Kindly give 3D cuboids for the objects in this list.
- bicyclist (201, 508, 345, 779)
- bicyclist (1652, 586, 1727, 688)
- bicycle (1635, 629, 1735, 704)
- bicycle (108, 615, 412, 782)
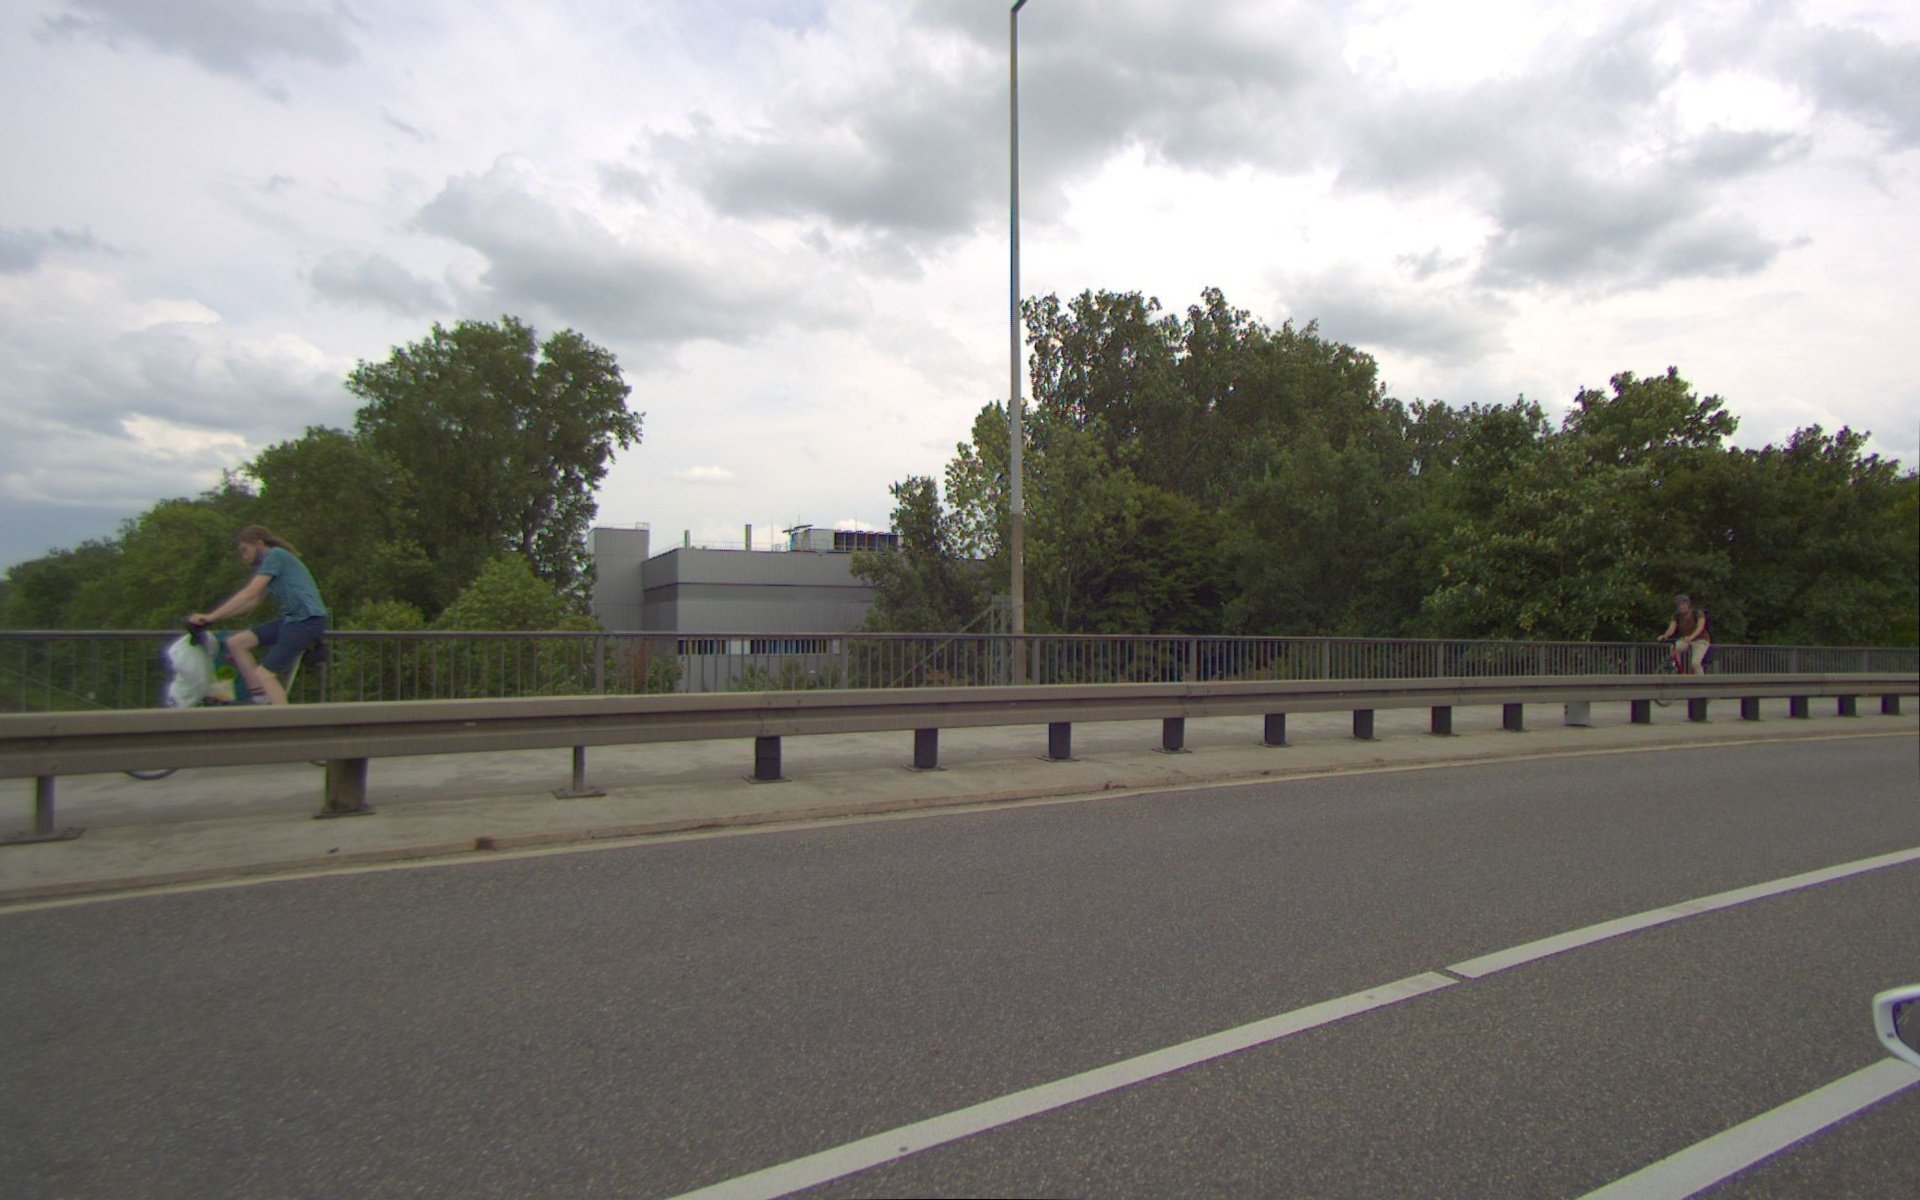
[{"bbox_3d":[-5.049,0.302,7.379,0.789,1.832,0.842,2,0,-37],"label":"bicyclist"},{"bbox_3d":[12.284,0.617,16.923,0.641,1.653,0.768,3,-1,-27],"label":"bicyclist"},{"bbox_3d":[12.165,1.100,16.838,1.883,1.189,0.632,2,0,-30],"label":"bicycle"},{"bbox_3d":[-5.078,0.675,7.387,1.745,1.081,0.641,2,0,-38],"label":"bicycle"}]
